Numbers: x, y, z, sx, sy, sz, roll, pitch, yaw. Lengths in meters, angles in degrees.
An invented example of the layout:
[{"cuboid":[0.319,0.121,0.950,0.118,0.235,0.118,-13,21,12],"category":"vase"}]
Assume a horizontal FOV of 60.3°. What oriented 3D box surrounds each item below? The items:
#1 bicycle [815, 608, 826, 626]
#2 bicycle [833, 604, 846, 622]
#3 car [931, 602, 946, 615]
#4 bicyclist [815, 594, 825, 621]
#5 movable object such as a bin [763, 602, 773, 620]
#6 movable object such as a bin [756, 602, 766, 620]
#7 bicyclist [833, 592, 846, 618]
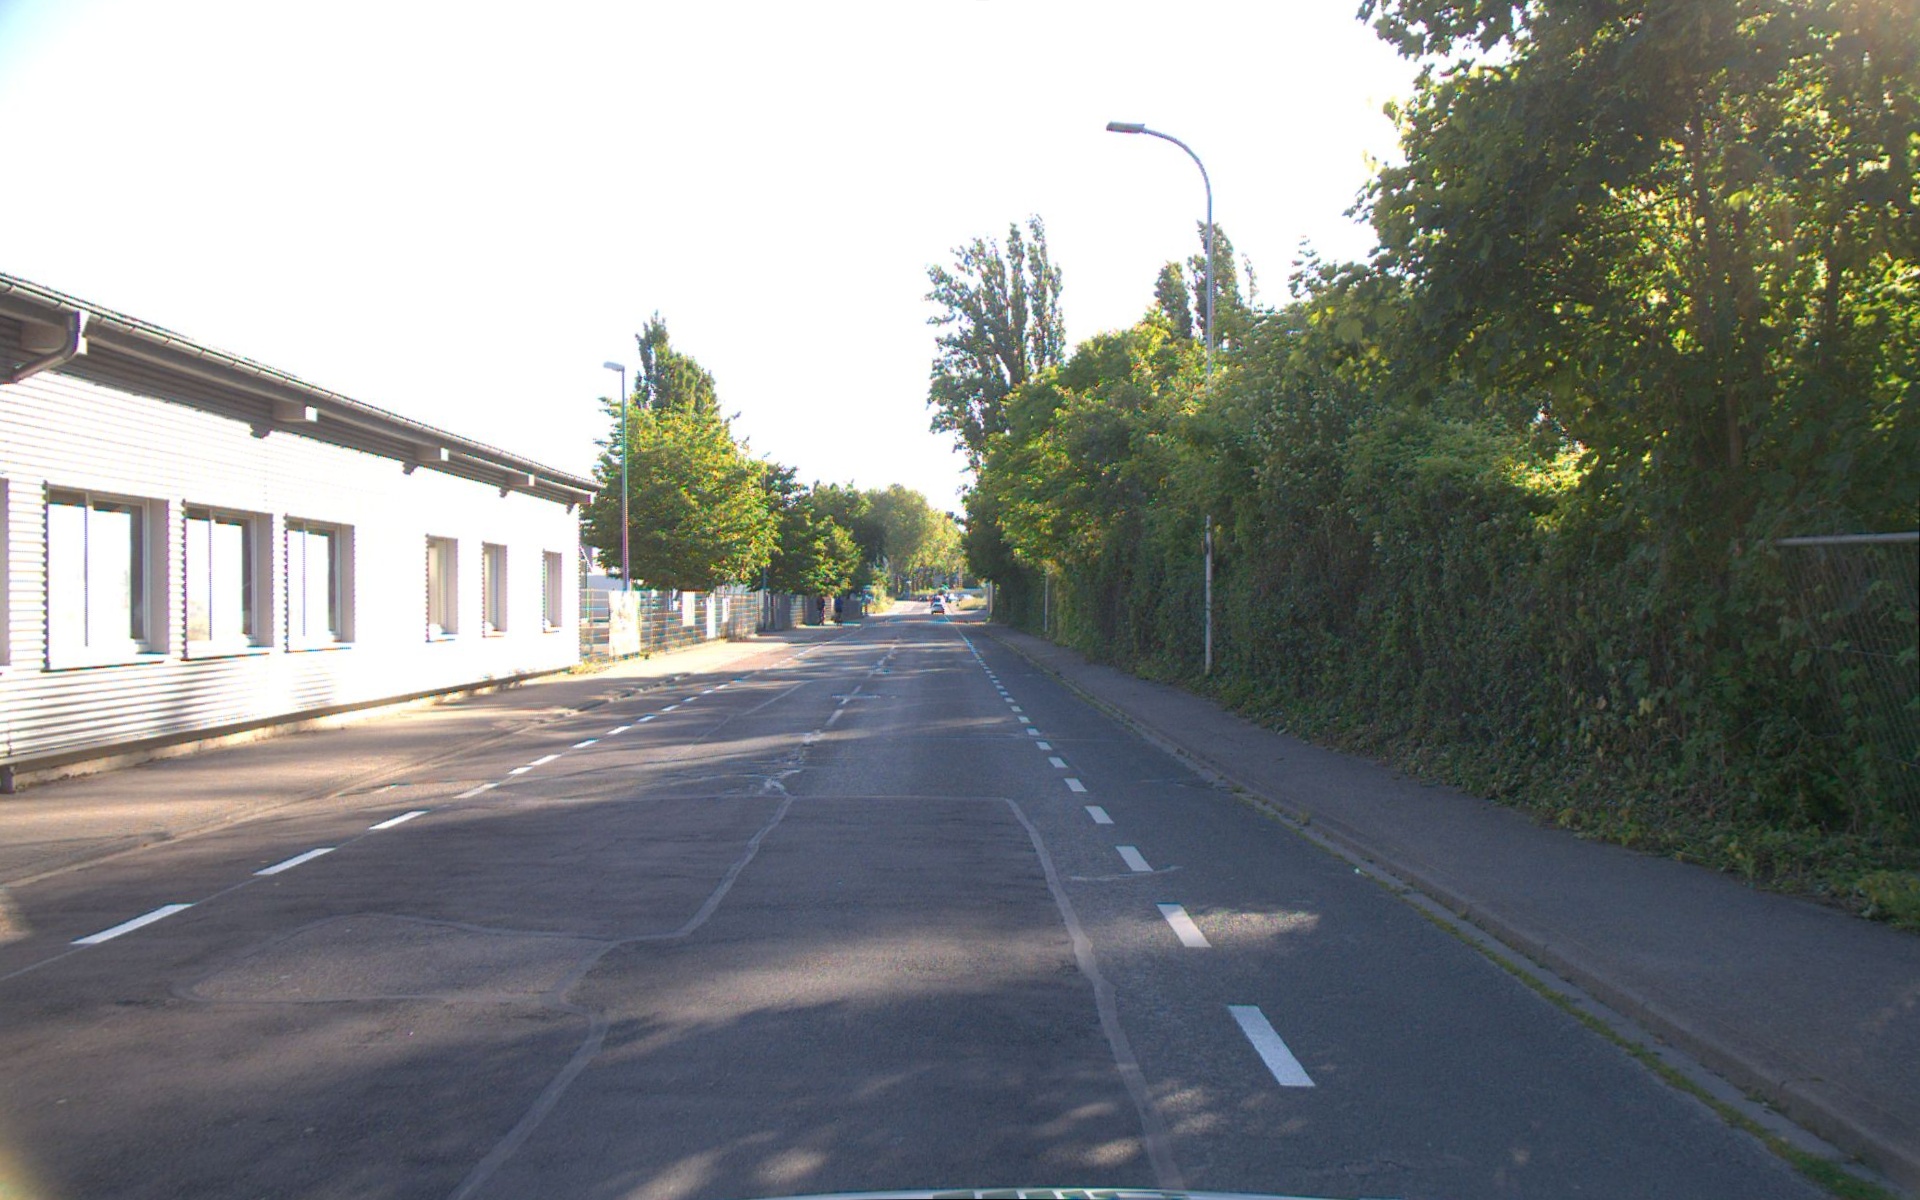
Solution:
[{"cuboid":[-8.437,1.005,99.781,0.551,1.052,1.350,1,0,-1],"category":"bicycle"},{"cuboid":[-7.214,0.754,98.929,0.675,1.052,1.350,1,0,-1],"category":"bicycle"},{"cuboid":[-2.832,1.081,215.885,1.903,1.680,4.309,1,0,-1],"category":"car"},{"cuboid":[-8.424,0.449,99.700,0.548,1.560,0.689,1,0,-1],"category":"bicyclist"},{"cuboid":[-12.120,0.693,104.563,0.453,1.095,1.569,-1,0,-1],"category":"movable object such as a bin"},{"cuboid":[-12.626,0.708,104.732,0.453,1.095,1.569,-1,0,-1],"category":"movable object such as a bin"},{"cuboid":[-7.203,0.278,98.887,0.675,1.558,0.722,1,0,-1],"category":"bicyclist"}]
